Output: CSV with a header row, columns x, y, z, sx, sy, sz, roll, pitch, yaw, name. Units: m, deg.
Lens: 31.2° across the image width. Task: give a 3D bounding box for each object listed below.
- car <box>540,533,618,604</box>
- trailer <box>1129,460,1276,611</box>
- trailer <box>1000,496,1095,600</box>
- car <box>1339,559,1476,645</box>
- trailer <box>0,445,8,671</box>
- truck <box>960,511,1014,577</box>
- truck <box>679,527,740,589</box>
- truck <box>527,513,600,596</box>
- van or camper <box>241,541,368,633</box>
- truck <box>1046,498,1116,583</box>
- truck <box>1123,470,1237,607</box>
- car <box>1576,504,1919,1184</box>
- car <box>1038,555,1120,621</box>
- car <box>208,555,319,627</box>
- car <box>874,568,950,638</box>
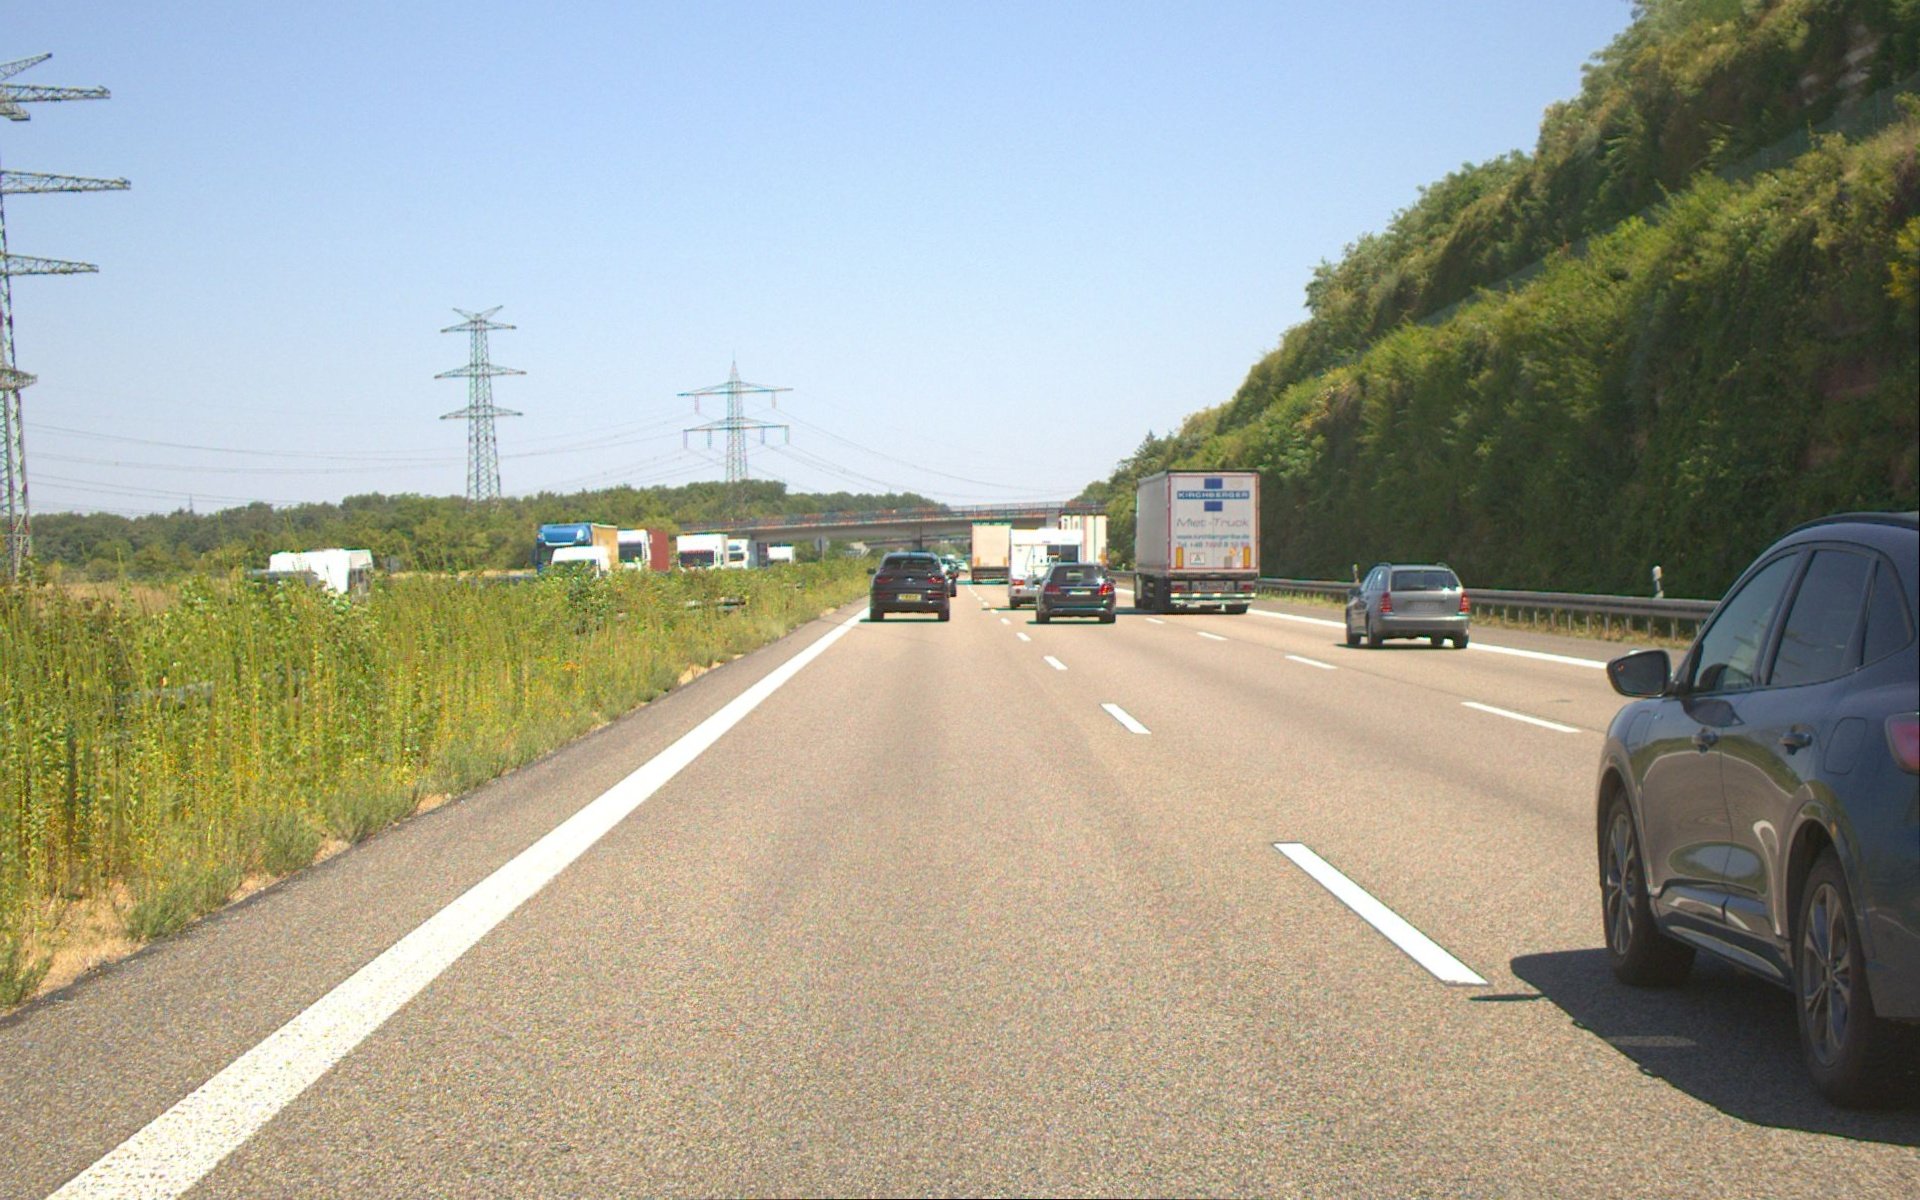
x,y,z,sx,sy,sz,roll,pitch,yaw,name
-14.929,-1.258,135.128,2.105,2.622,7.467,-3,1,0,car
7.041,-1.881,101.719,3.183,4.107,13.432,-1,1,-1,trailer
2.758,-1.659,110.674,2.610,3.202,9.953,0,1,-1,trailer
7.687,0.003,59.382,1.684,1.423,4.454,0,1,-1,car
-18.435,-0.653,56.926,2.736,4.032,9.424,-2,1,-1,trailer
1.787,-3.776,231.840,3.409,4.265,10.608,-1,1,0,truck
-14.579,-2.452,200.570,2.936,3.401,9.367,-2,1,-1,truck
-19.340,-2.224,167.843,2.863,3.894,5.621,-1,1,0,truck
-18.927,-0.410,99.593,2.443,2.509,6.484,-2,1,-1,van or camper
6.349,-3.140,181.645,3.119,4.265,11.934,-1,1,0,truck
6.903,-1.929,108.646,3.136,4.127,5.504,-1,1,0,truck
3.160,0.555,10.400,1.794,1.647,4.138,0,1,-1,car
2.864,-0.309,83.704,1.830,1.520,4.000,-1,1,0,car
-18.823,-0.266,93.113,2.047,1.848,4.870,-2,1,-1,car
-1.214,0.057,86.811,1.830,1.665,4.000,-1,1,-1,car
